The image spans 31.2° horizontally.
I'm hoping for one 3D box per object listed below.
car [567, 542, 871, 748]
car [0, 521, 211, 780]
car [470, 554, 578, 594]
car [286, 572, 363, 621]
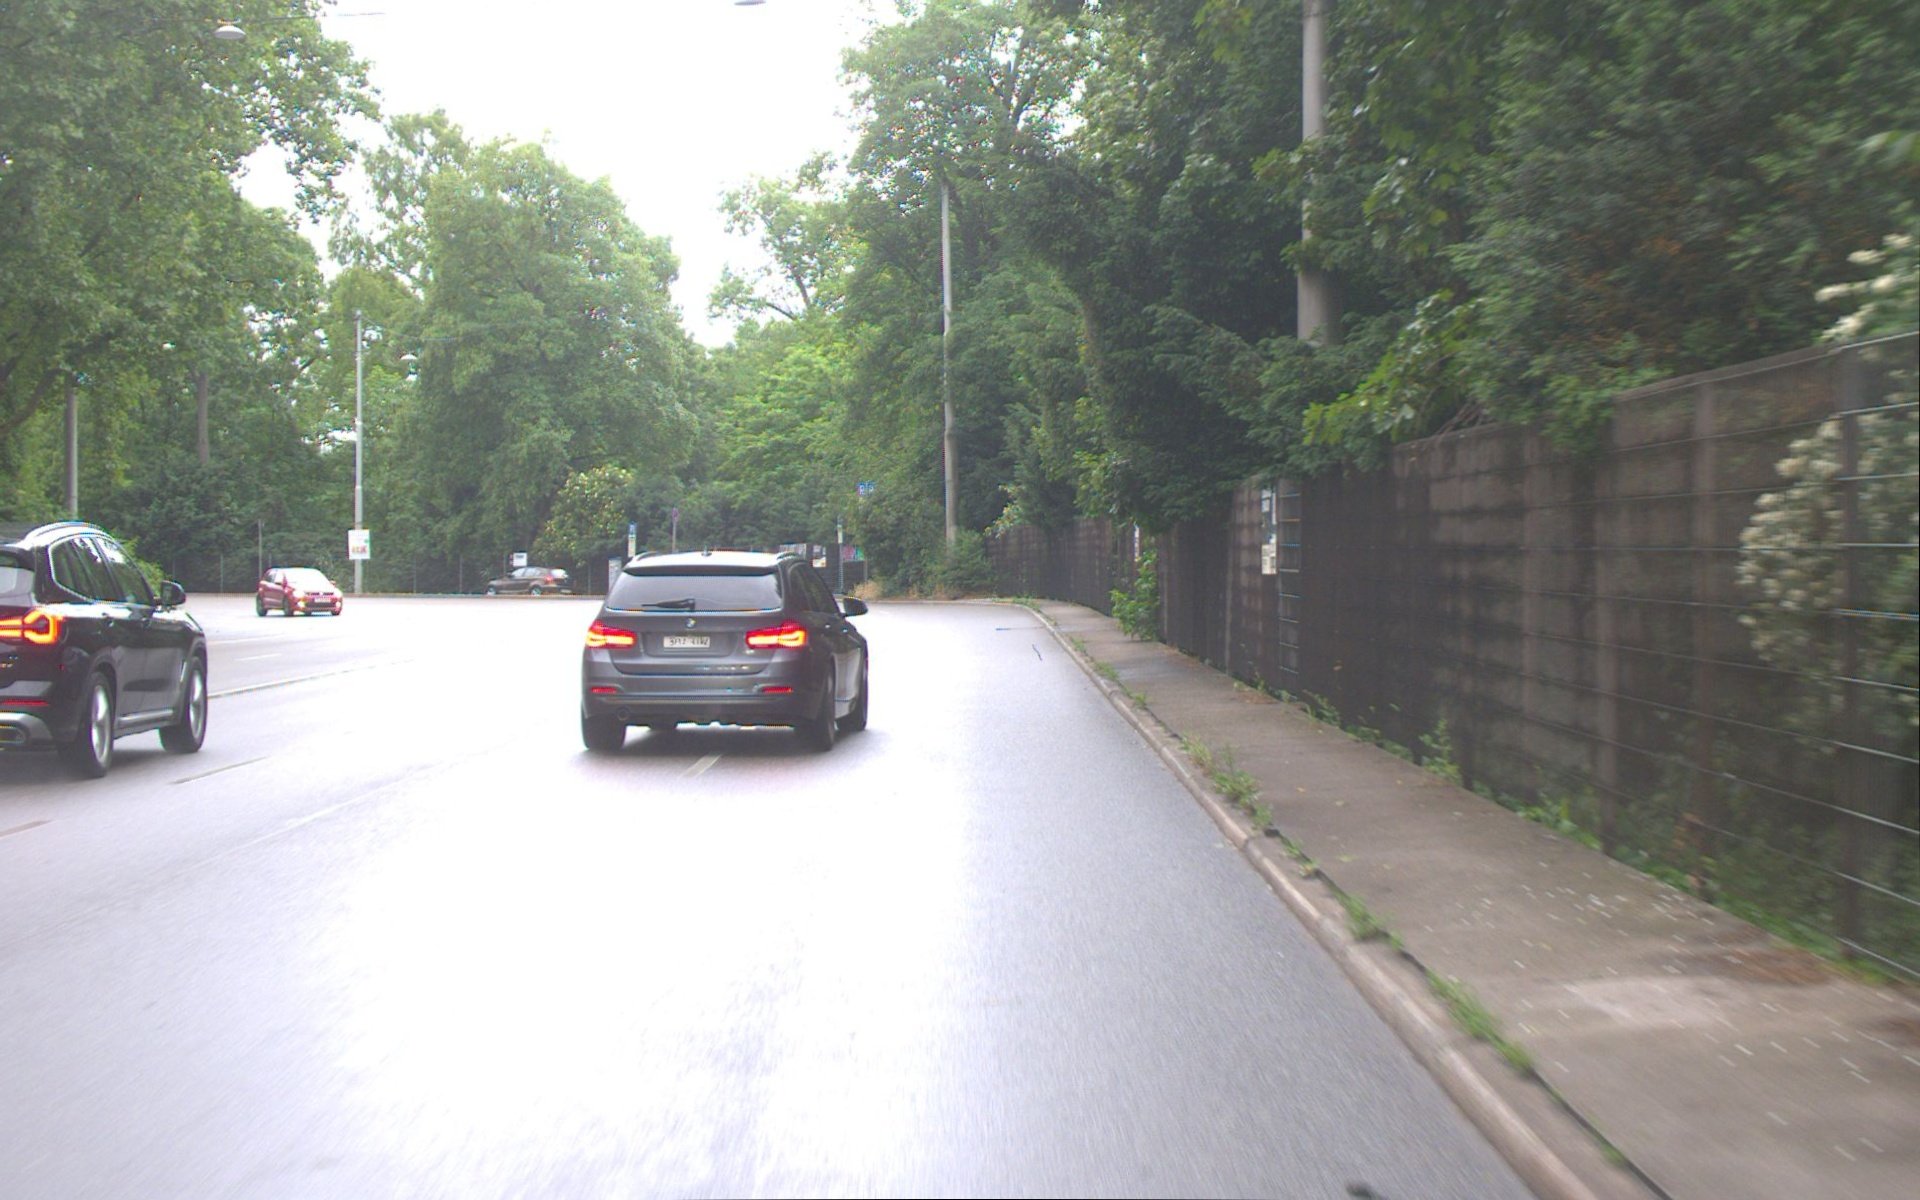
[{"bbox_3d":[-1.730,0.286,26.059,1.758,1.427,4.412,0,1,3],"label":"car"},{"bbox_3d":[-6.385,0.268,23.203,1.757,1.580,4.413,1,1,-1],"label":"car"},{"bbox_3d":[-16.827,-1.001,132.657,4.368,1.422,1.688,1,-2,43],"label":"car"},{"bbox_3d":[-19.256,-0.131,104.294,1.580,1.409,3.962,-1,1,0],"label":"car"}]
